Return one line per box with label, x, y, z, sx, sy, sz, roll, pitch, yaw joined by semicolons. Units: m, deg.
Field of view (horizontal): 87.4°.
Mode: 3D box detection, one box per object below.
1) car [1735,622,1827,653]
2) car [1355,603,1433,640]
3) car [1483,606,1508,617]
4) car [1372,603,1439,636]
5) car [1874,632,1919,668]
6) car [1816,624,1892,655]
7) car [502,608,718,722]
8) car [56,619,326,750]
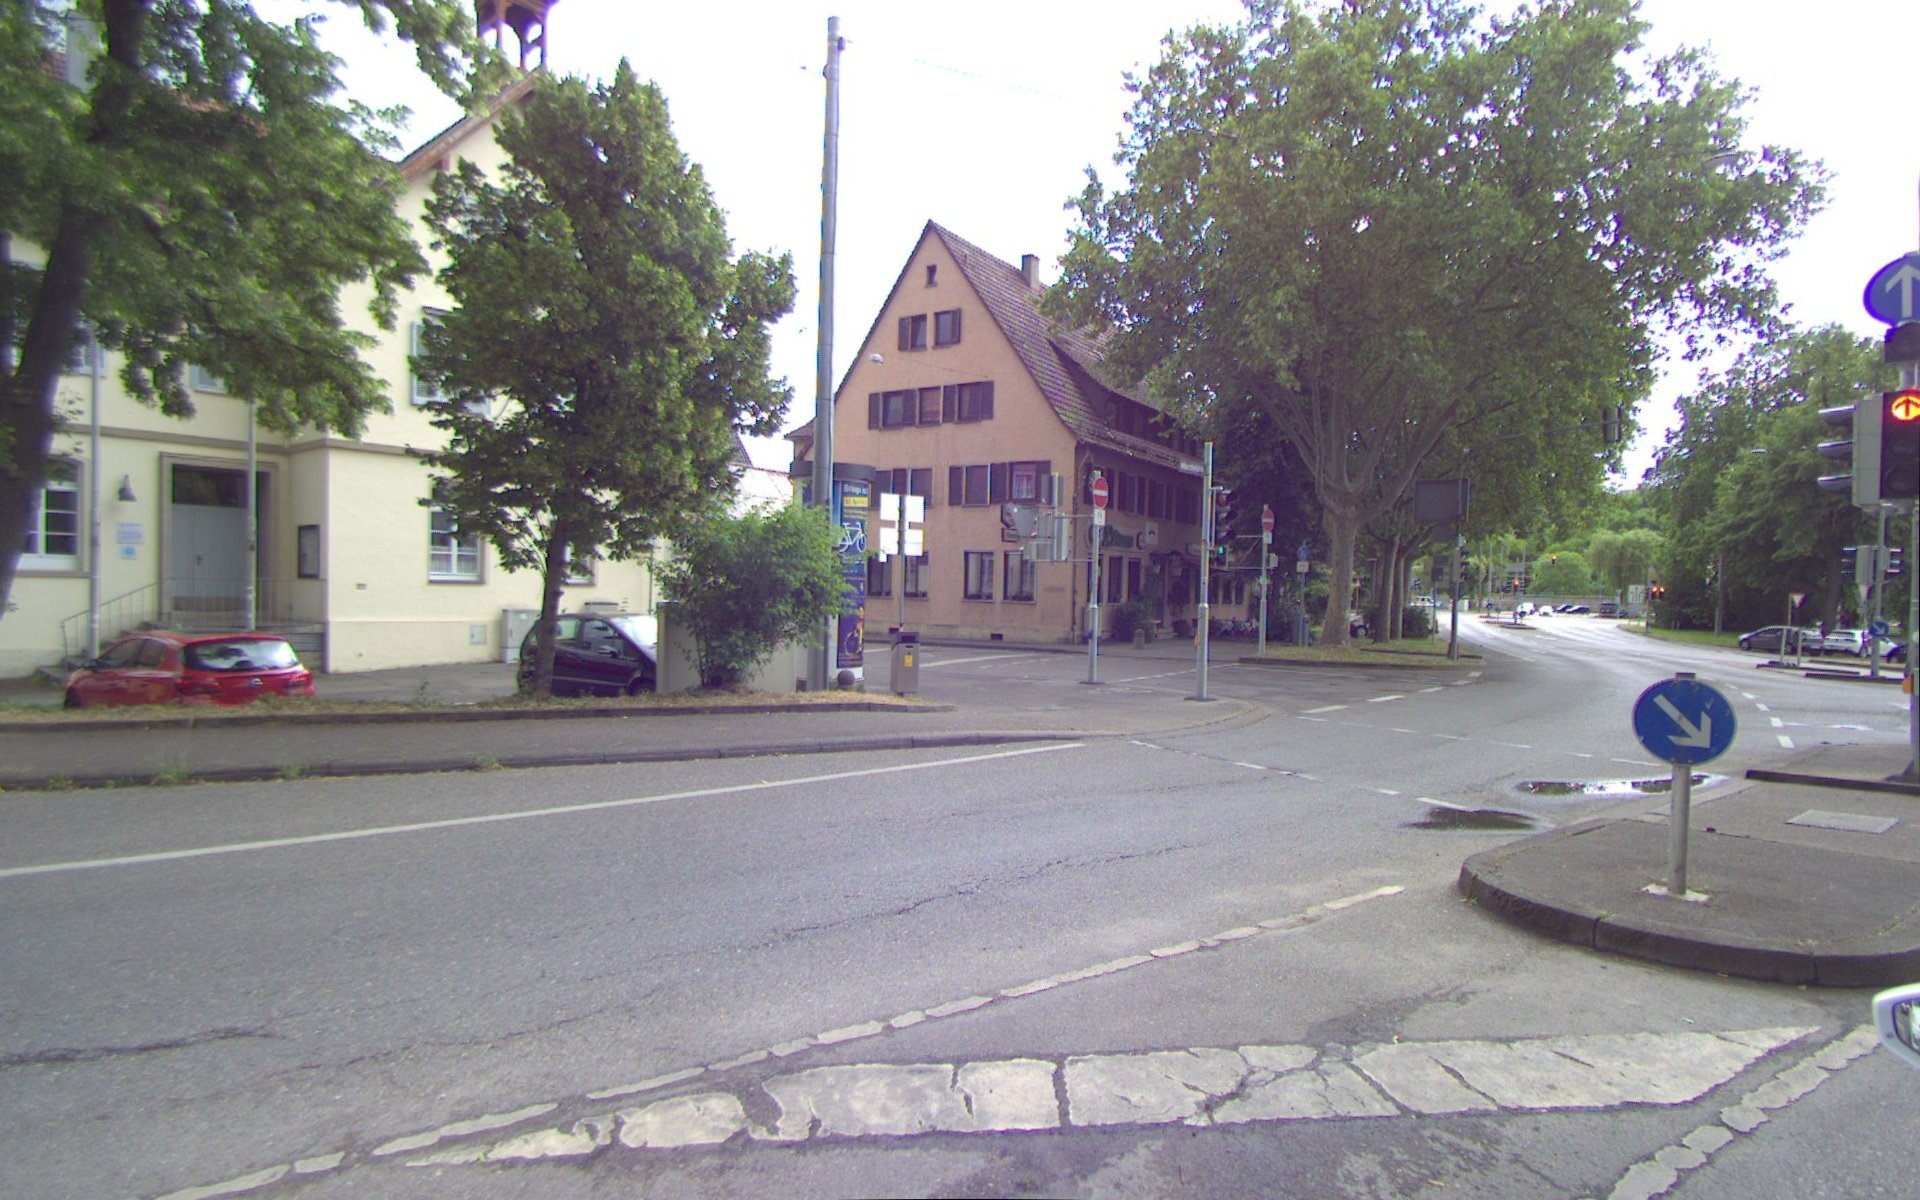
car;43.868;1.970;53.761;1.559;1.484;3.543;2;0;-17
car;21.413;1.048;49.586;3.387;1.663;1.570;2;0;28
car;100.732;2.135;188.932;3.928;2.040;1.996;2;0;30
car;25.475;1.087;57.470;3.387;1.765;1.570;2;0;28
car;39.573;2.078;40.946;1.442;1.412;3.596;2;0;3
car;47.307;2.083;53.162;3.342;1.484;1.543;2;0;-19
car;-5.762;1.005;16.600;3.035;1.654;1.607;2;0;22
car;-10.174;1.011;13.252;3.492;1.397;1.605;2;0;30
